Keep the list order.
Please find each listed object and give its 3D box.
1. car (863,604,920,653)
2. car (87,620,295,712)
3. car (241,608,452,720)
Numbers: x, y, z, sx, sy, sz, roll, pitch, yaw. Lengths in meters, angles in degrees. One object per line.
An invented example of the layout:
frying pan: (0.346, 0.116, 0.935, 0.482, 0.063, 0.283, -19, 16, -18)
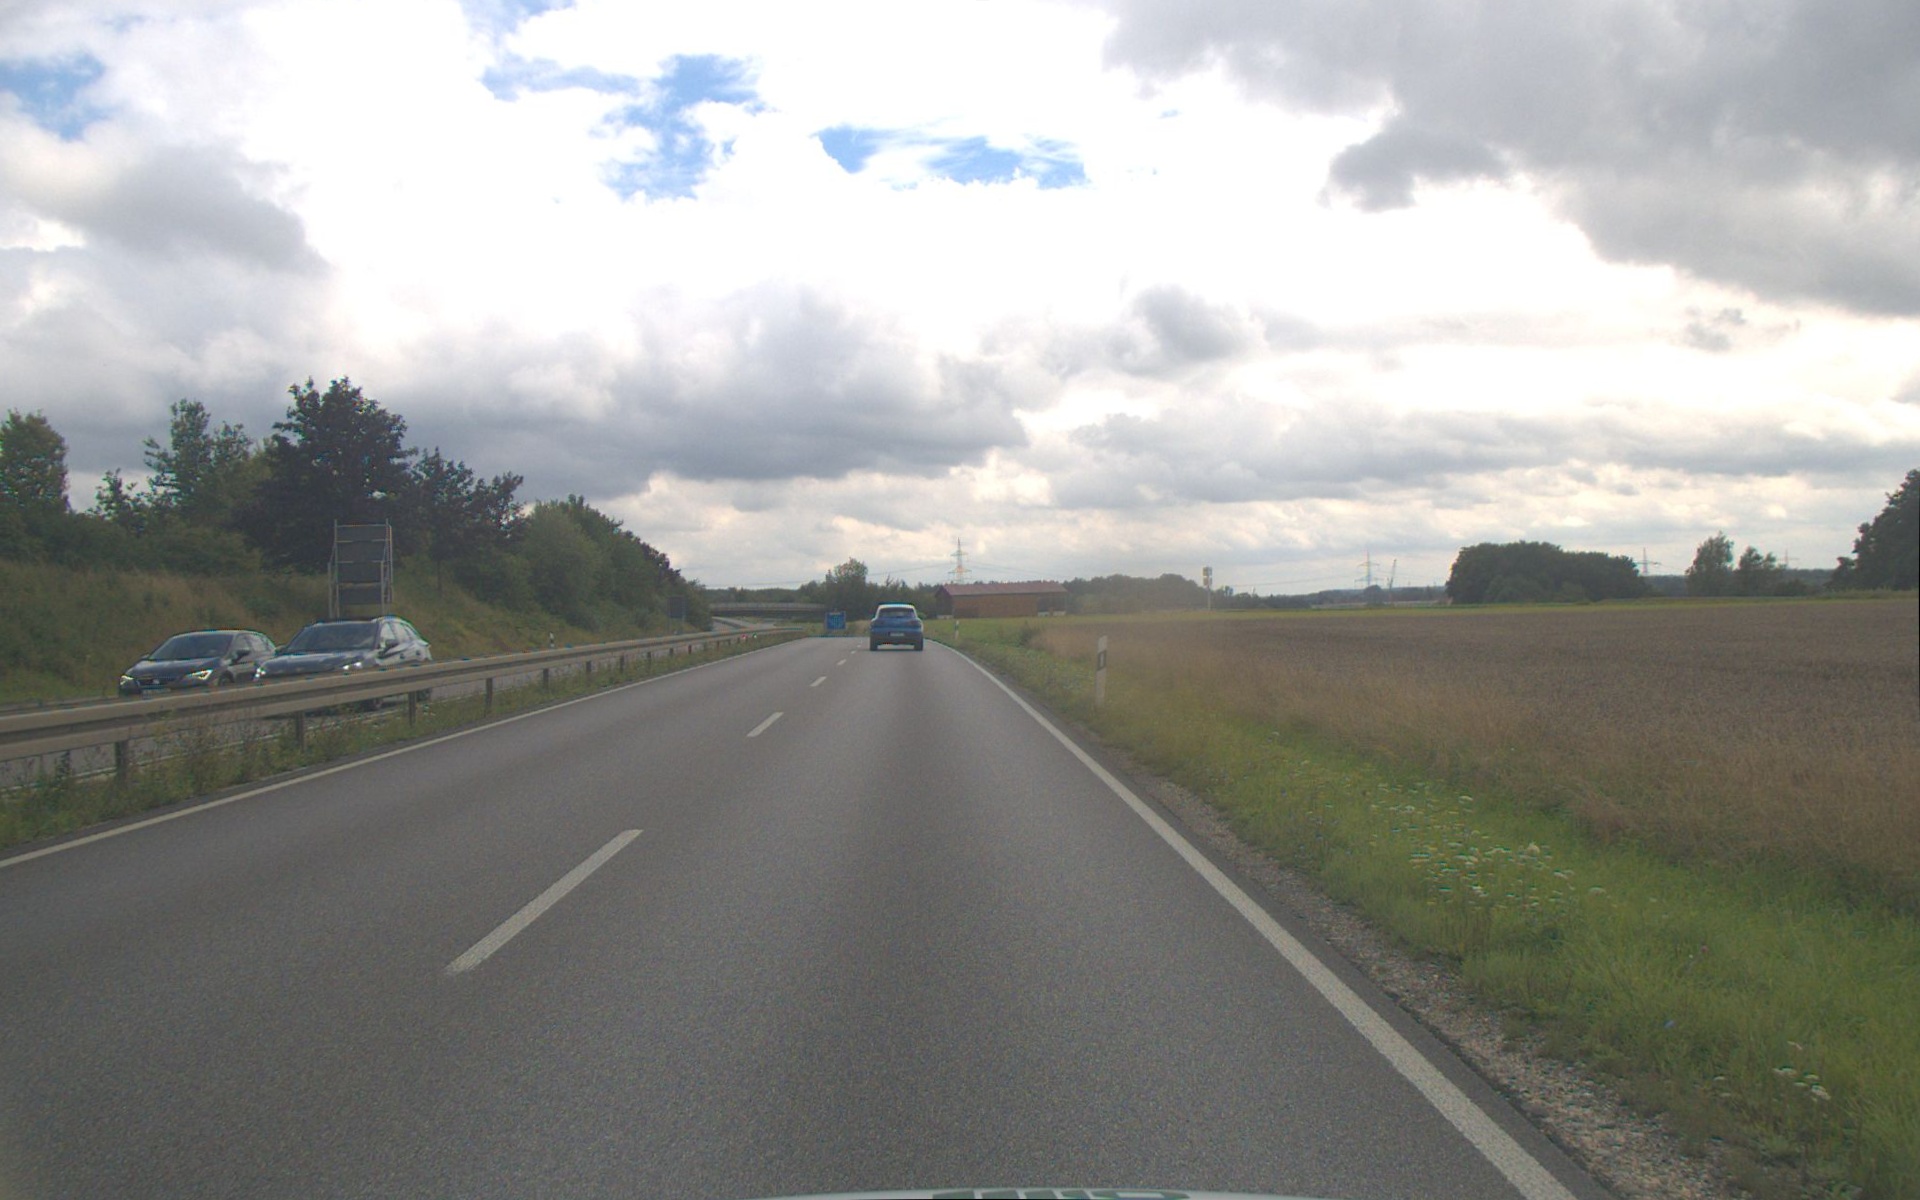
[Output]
car: (-2.444, 1.006, 59.962, 1.992, 1.689, 4.542, 0, 0, -1)
car: (-13.505, 1.110, 29.344, 1.657, 1.347, 4.416, -2, 1, -1)
car: (-9.696, 0.954, 26.539, 1.718, 1.512, 4.575, -2, 1, -1)
